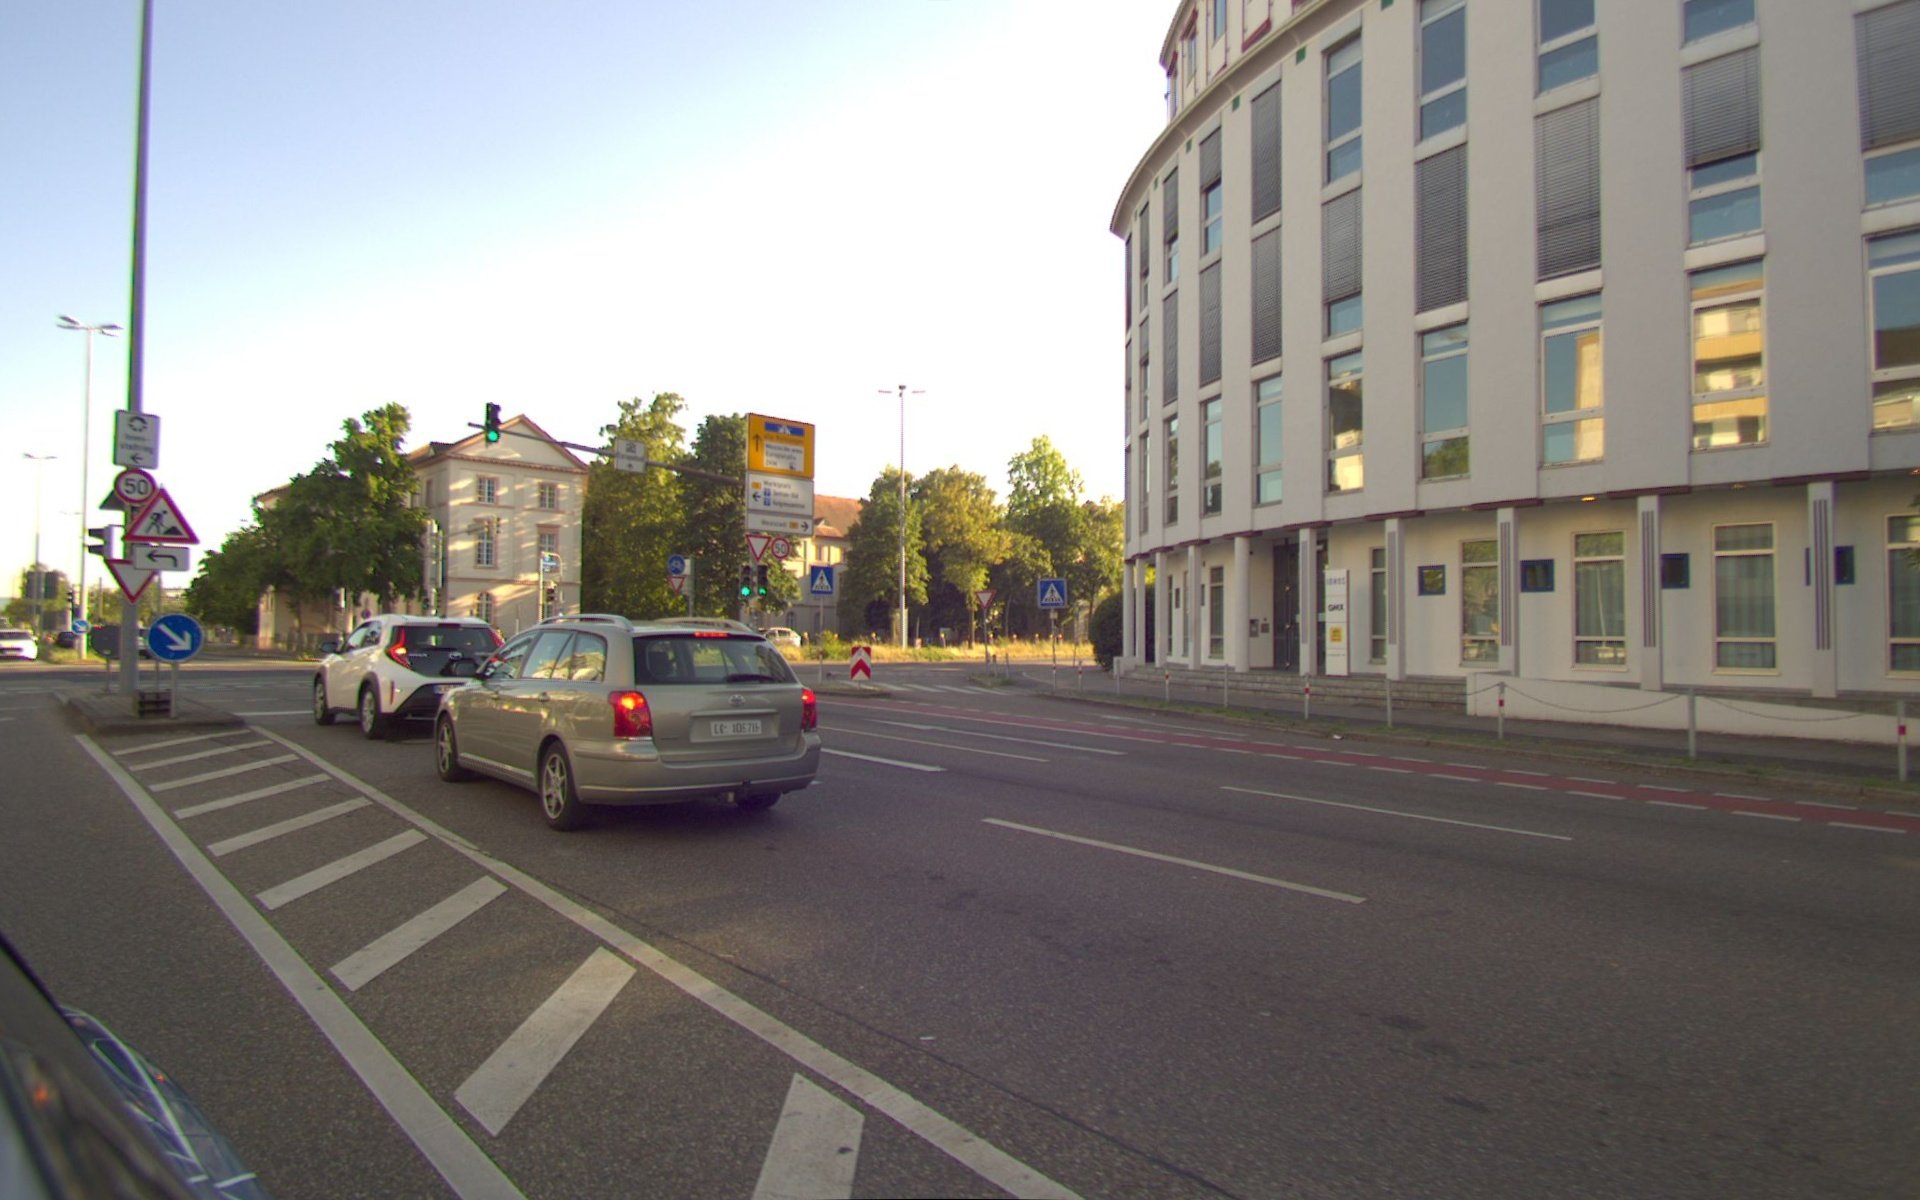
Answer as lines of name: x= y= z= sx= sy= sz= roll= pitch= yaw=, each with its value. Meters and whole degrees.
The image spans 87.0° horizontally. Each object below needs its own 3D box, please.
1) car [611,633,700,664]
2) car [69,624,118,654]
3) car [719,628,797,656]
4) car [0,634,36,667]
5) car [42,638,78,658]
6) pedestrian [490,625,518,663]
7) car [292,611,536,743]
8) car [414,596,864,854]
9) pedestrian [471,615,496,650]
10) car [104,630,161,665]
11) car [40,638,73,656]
car: x=-14.599 y=2.307 z=48.603 sx=1.999 sy=1.457 sz=3.597 roll=-2 pitch=-3 yaw=41
car: x=-54.954 y=2.463 z=64.138 sx=4.947 sy=1.861 sz=1.807 roll=-2 pitch=-3 yaw=44
car: x=-10.690 y=2.234 z=53.745 sx=1.999 sy=1.457 sz=3.597 roll=-2 pitch=-3 yaw=41
car: x=-44.107 y=2.324 z=46.882 sx=1.739 sy=1.510 sz=3.710 roll=2 pitch=-3 yaw=-44
car: x=-69.639 y=3.693 z=78.299 sx=4.293 sy=1.474 sz=1.740 roll=-2 pitch=-3 yaw=44
pedestrian: x=-23.063 y=2.228 z=51.200 sx=1.168 sy=1.863 sz=0.810 roll=-2 pitch=-3 yaw=37
car: x=-7.288 y=0.941 z=13.341 sx=1.806 sy=1.472 sz=3.904 roll=2 pitch=-3 yaw=-44
car: x=-2.884 y=0.831 z=8.332 sx=1.805 sy=1.526 sz=4.610 roll=2 pitch=-3 yaw=-42
pedestrian: x=-23.733 y=1.646 z=50.391 sx=1.083 sy=1.721 sz=0.670 roll=-2 pitch=-3 yaw=37
car: x=-42.183 y=2.409 z=51.547 sx=1.806 sy=1.719 sz=4.443 roll=2 pitch=-3 yaw=-45
car: x=-78.311 y=4.057 z=87.700 sx=4.293 sy=1.474 sz=1.740 roll=-2 pitch=-3 yaw=44
